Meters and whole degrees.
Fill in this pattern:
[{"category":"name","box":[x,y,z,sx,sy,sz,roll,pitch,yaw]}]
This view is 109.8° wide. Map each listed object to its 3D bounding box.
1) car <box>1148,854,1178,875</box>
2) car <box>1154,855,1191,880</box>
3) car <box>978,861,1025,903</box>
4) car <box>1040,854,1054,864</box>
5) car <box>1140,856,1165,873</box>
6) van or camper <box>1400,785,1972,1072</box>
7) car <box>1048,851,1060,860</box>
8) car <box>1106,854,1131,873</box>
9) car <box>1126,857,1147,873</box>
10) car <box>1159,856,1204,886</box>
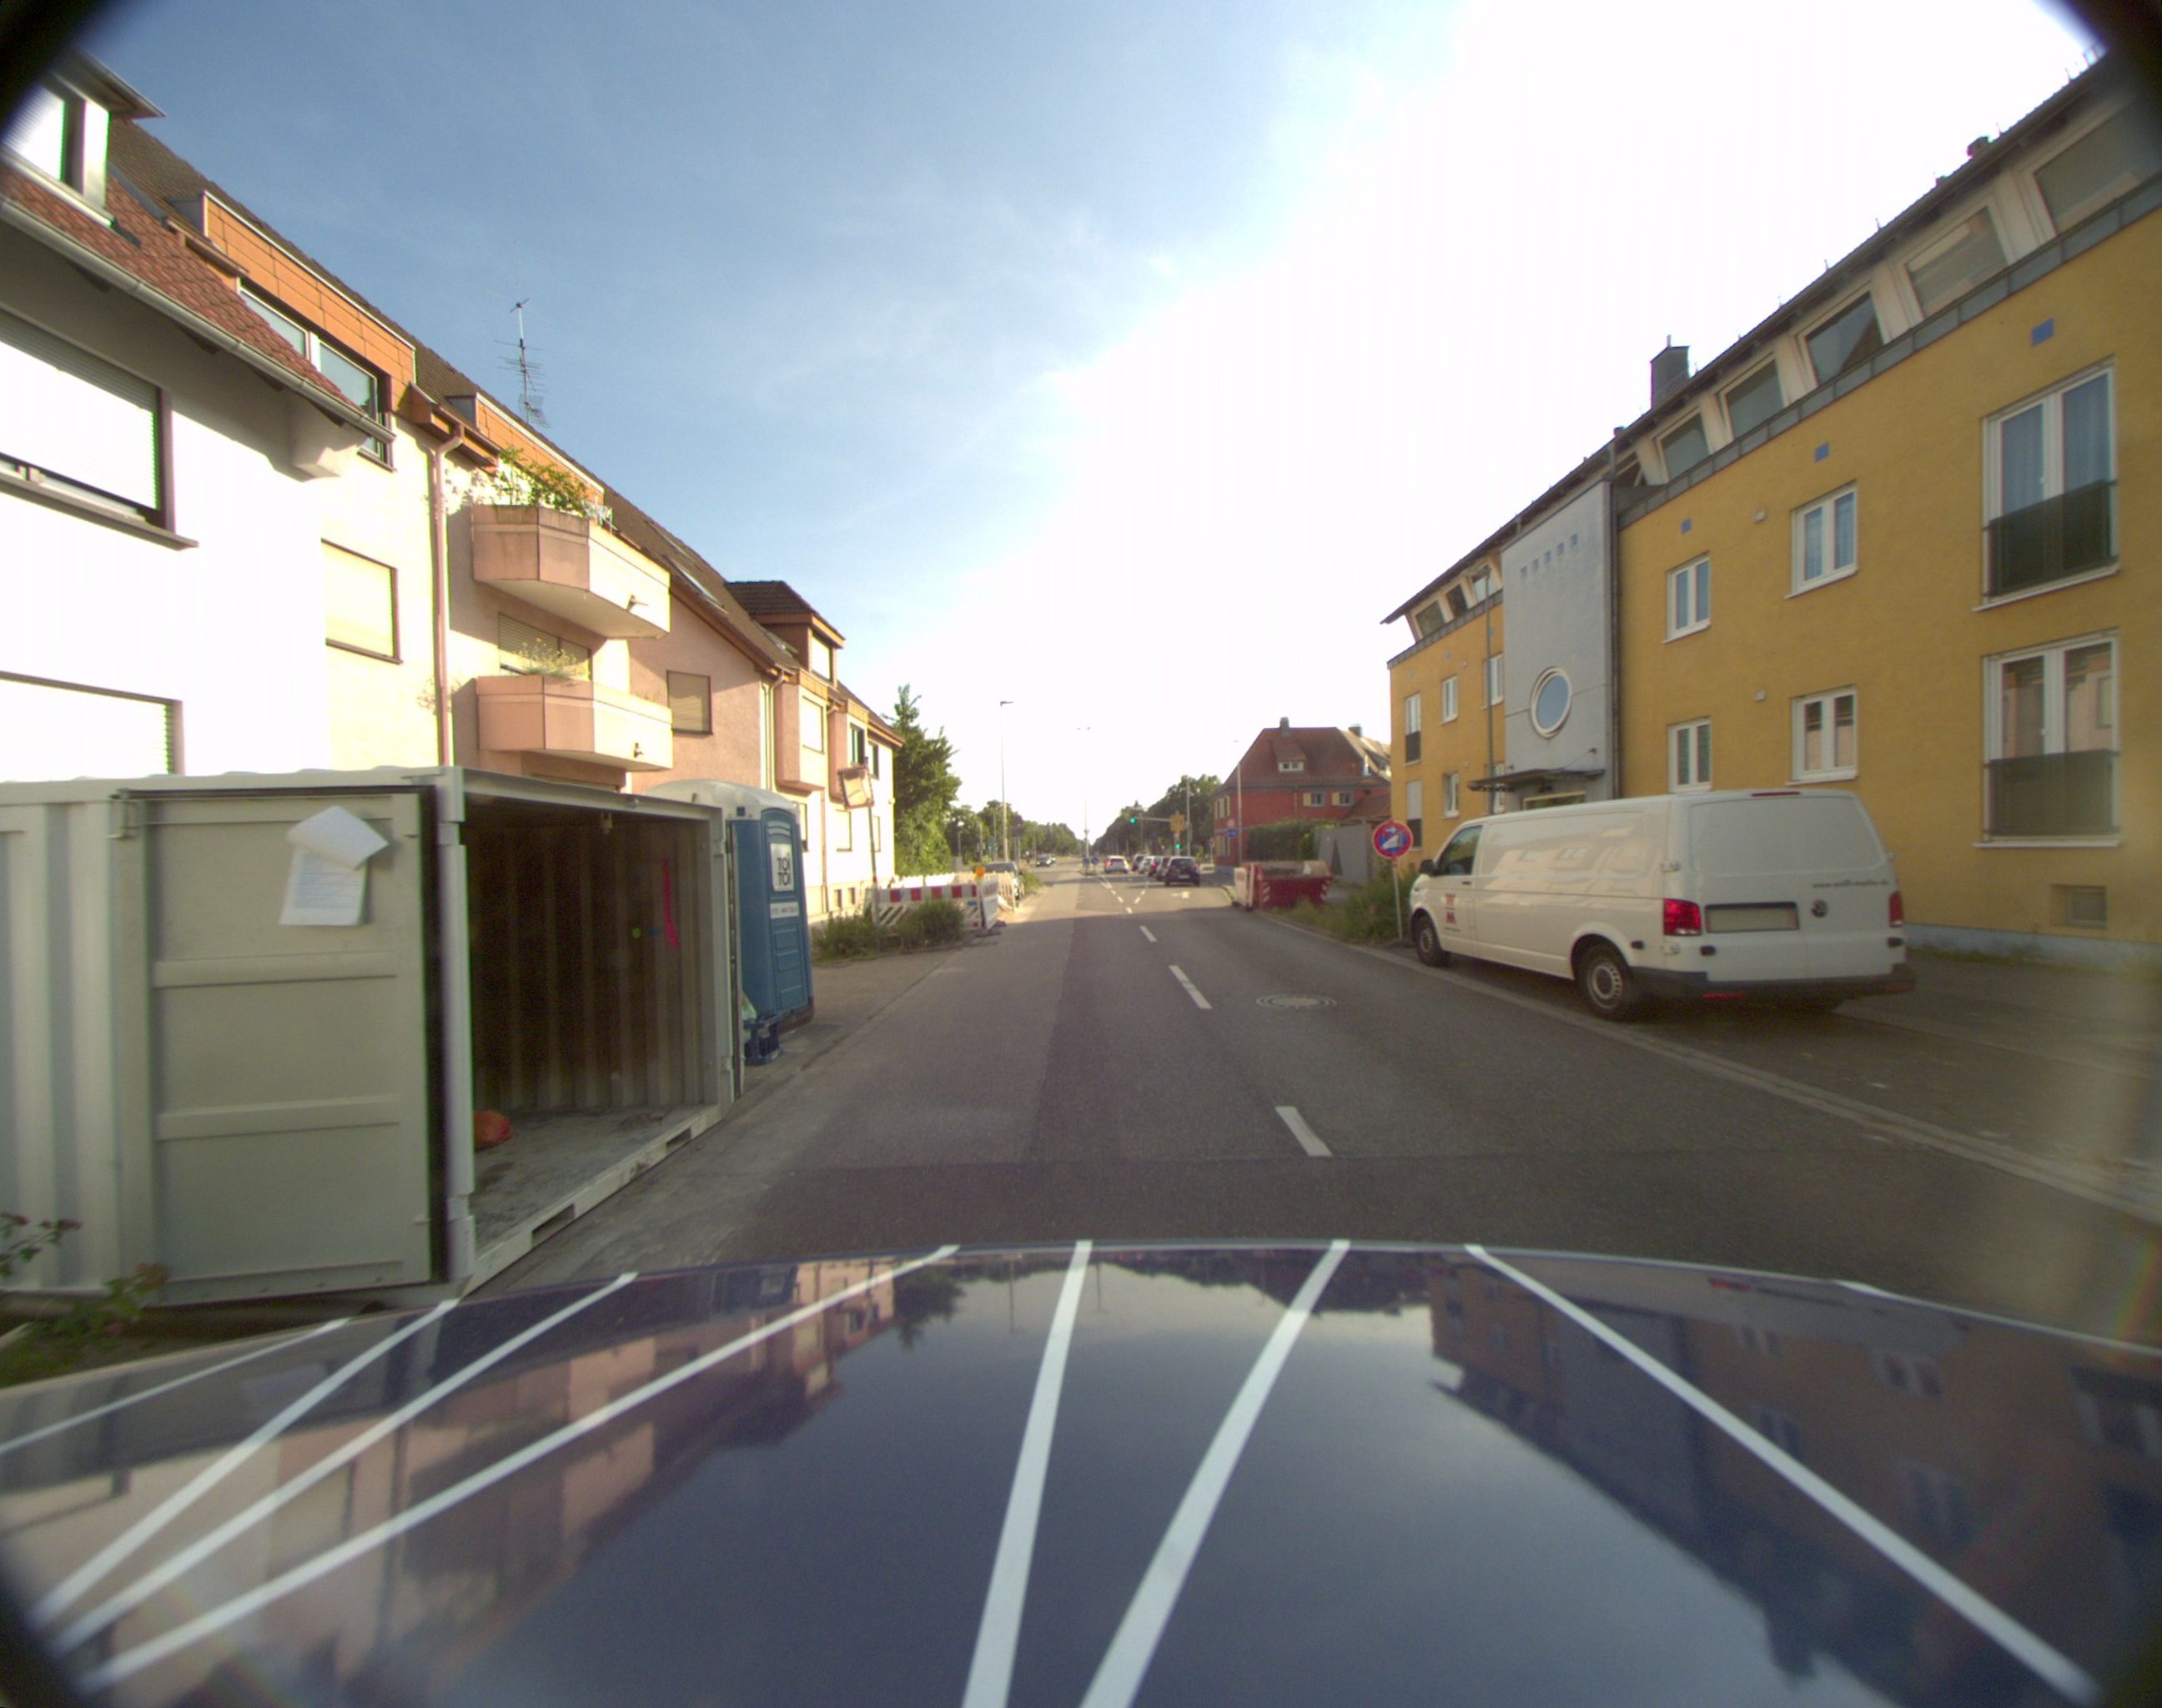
[{"category":"car","box":[5.916,0.727,55.269,1.794,1.433,4.000,0,0,1]},{"category":"car","box":[5.509,0.791,46.046,1.794,1.433,4.000,0,0,1]},{"category":"car","box":[-3.009,1.020,29.247,1.635,1.433,3.408,-2,0,-4]},{"category":"car","box":[-4.804,0.723,108.124,1.794,1.433,4.000,0,0,1]},{"category":"car","box":[6.015,0.861,64.309,1.794,1.433,4.000,0,0,1]},{"category":"van or camper","box":[5.394,0.522,7.927,1.999,1.992,4.920,-2,0,0]},{"category":"car","box":[-4.508,0.304,127.833,1.794,1.433,4.000,0,0,1]},{"category":"car","box":[3.221,0.825,65.715,1.982,1.520,4.000,-2,0,1]},{"category":"car","box":[5.427,1.105,74.967,1.794,1.433,4.000,-2,0,1]},{"category":"car","box":[5.081,0.834,38.844,1.794,1.433,4.000,0,0,1]}]
